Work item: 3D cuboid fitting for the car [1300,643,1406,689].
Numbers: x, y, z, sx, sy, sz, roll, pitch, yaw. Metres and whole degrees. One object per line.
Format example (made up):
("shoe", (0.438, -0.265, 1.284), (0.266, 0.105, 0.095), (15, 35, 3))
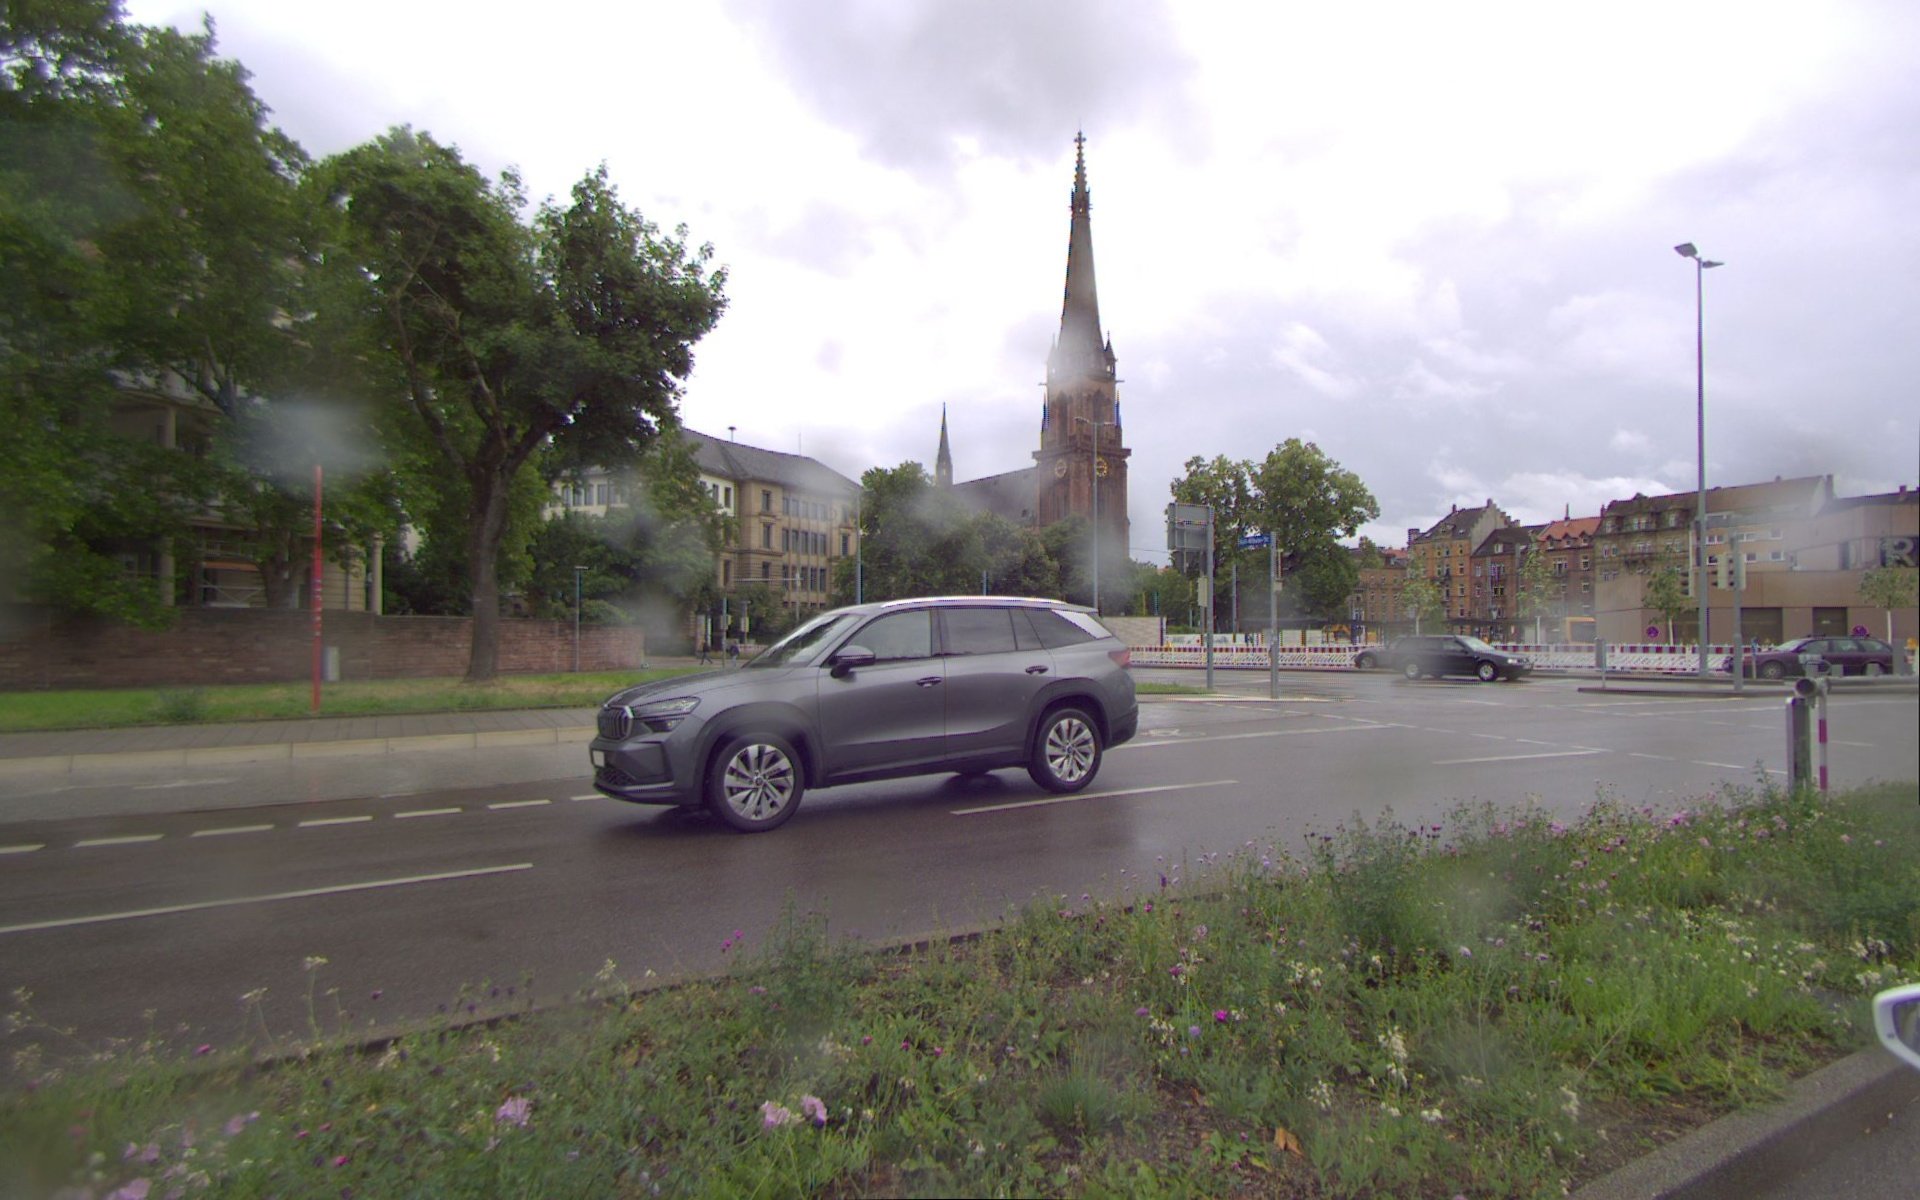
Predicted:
("car", (16.190, 2.678, 41.488), (1.695, 1.728, 3.781), (1, -2, -36))

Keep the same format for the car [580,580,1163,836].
("car", (-0.675, 0.801, 8.554), (4.549, 1.657, 1.985), (1, -4, -30))

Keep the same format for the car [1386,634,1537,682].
("car", (16.273, 1.840, 32.754), (1.602, 1.421, 4.164), (1, -2, -35))

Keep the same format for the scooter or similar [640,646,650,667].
("scooter or similar", (-17.010, 3.030, 54.211), (0.274, 1.096, 1.078), (0, -2, -4))

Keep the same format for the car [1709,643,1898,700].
("car", (27.406, 2.294, 32.807), (4.373, 1.728, 1.711), (-1, -2, 20))

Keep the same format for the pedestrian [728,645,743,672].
("pedestrian", (-12.851, 3.339, 57.446), (0.662, 1.520, 0.774), (0, -2, 0))

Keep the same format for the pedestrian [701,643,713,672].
("pedestrian", (-17.334, 3.930, 68.816), (0.596, 1.915, 0.601), (1, -2, -35))
